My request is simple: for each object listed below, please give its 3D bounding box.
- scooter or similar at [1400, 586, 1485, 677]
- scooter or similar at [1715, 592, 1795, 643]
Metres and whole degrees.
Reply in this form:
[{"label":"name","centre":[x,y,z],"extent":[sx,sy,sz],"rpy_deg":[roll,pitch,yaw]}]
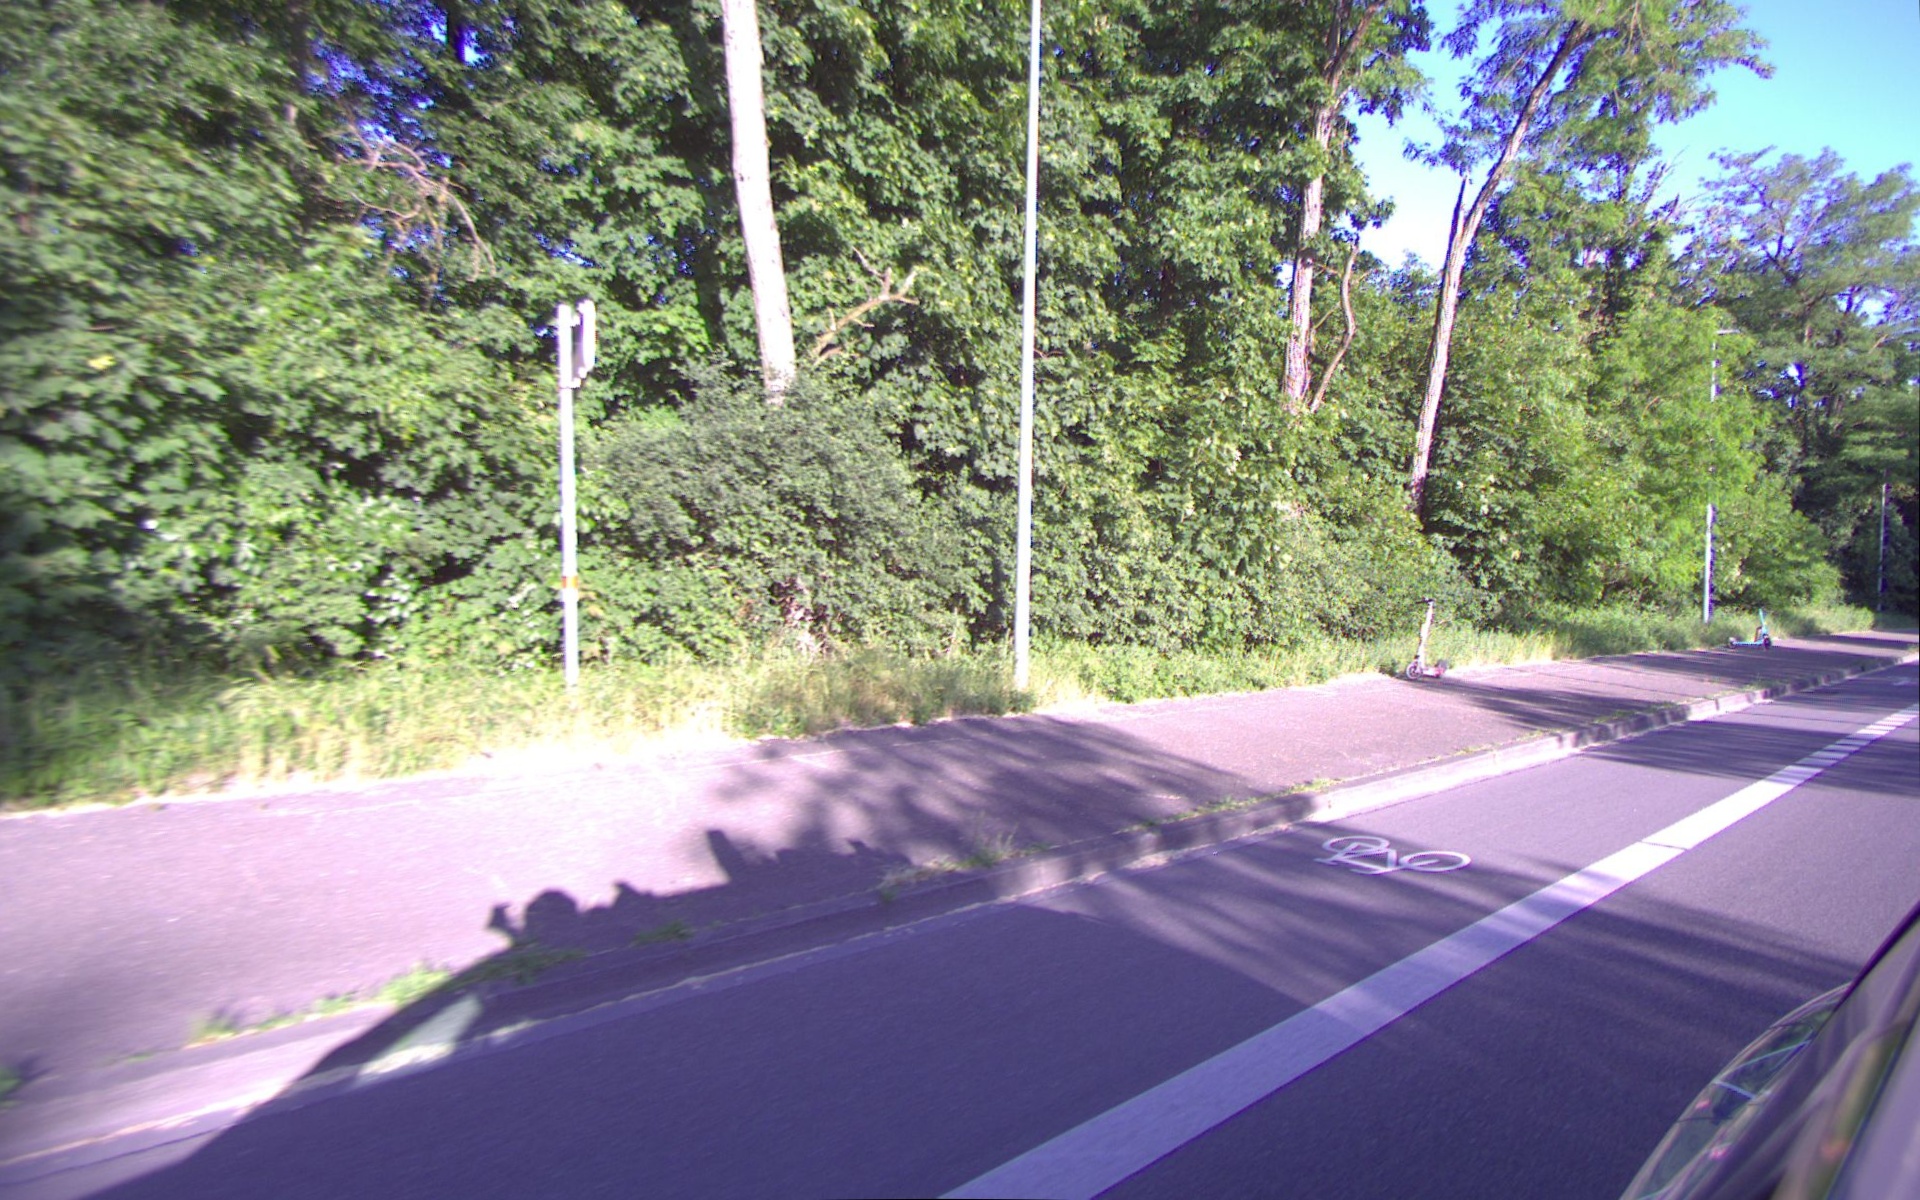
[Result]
[{"label":"scooter or similar","centre":[7.112,0.435,14.888],"extent":[1.514,1.265,0.534],"rpy_deg":[0,2,-41]},{"label":"scooter or similar","centre":[20.538,0.446,26.170],"extent":[1.515,1.265,0.534],"rpy_deg":[2,1,7]}]
